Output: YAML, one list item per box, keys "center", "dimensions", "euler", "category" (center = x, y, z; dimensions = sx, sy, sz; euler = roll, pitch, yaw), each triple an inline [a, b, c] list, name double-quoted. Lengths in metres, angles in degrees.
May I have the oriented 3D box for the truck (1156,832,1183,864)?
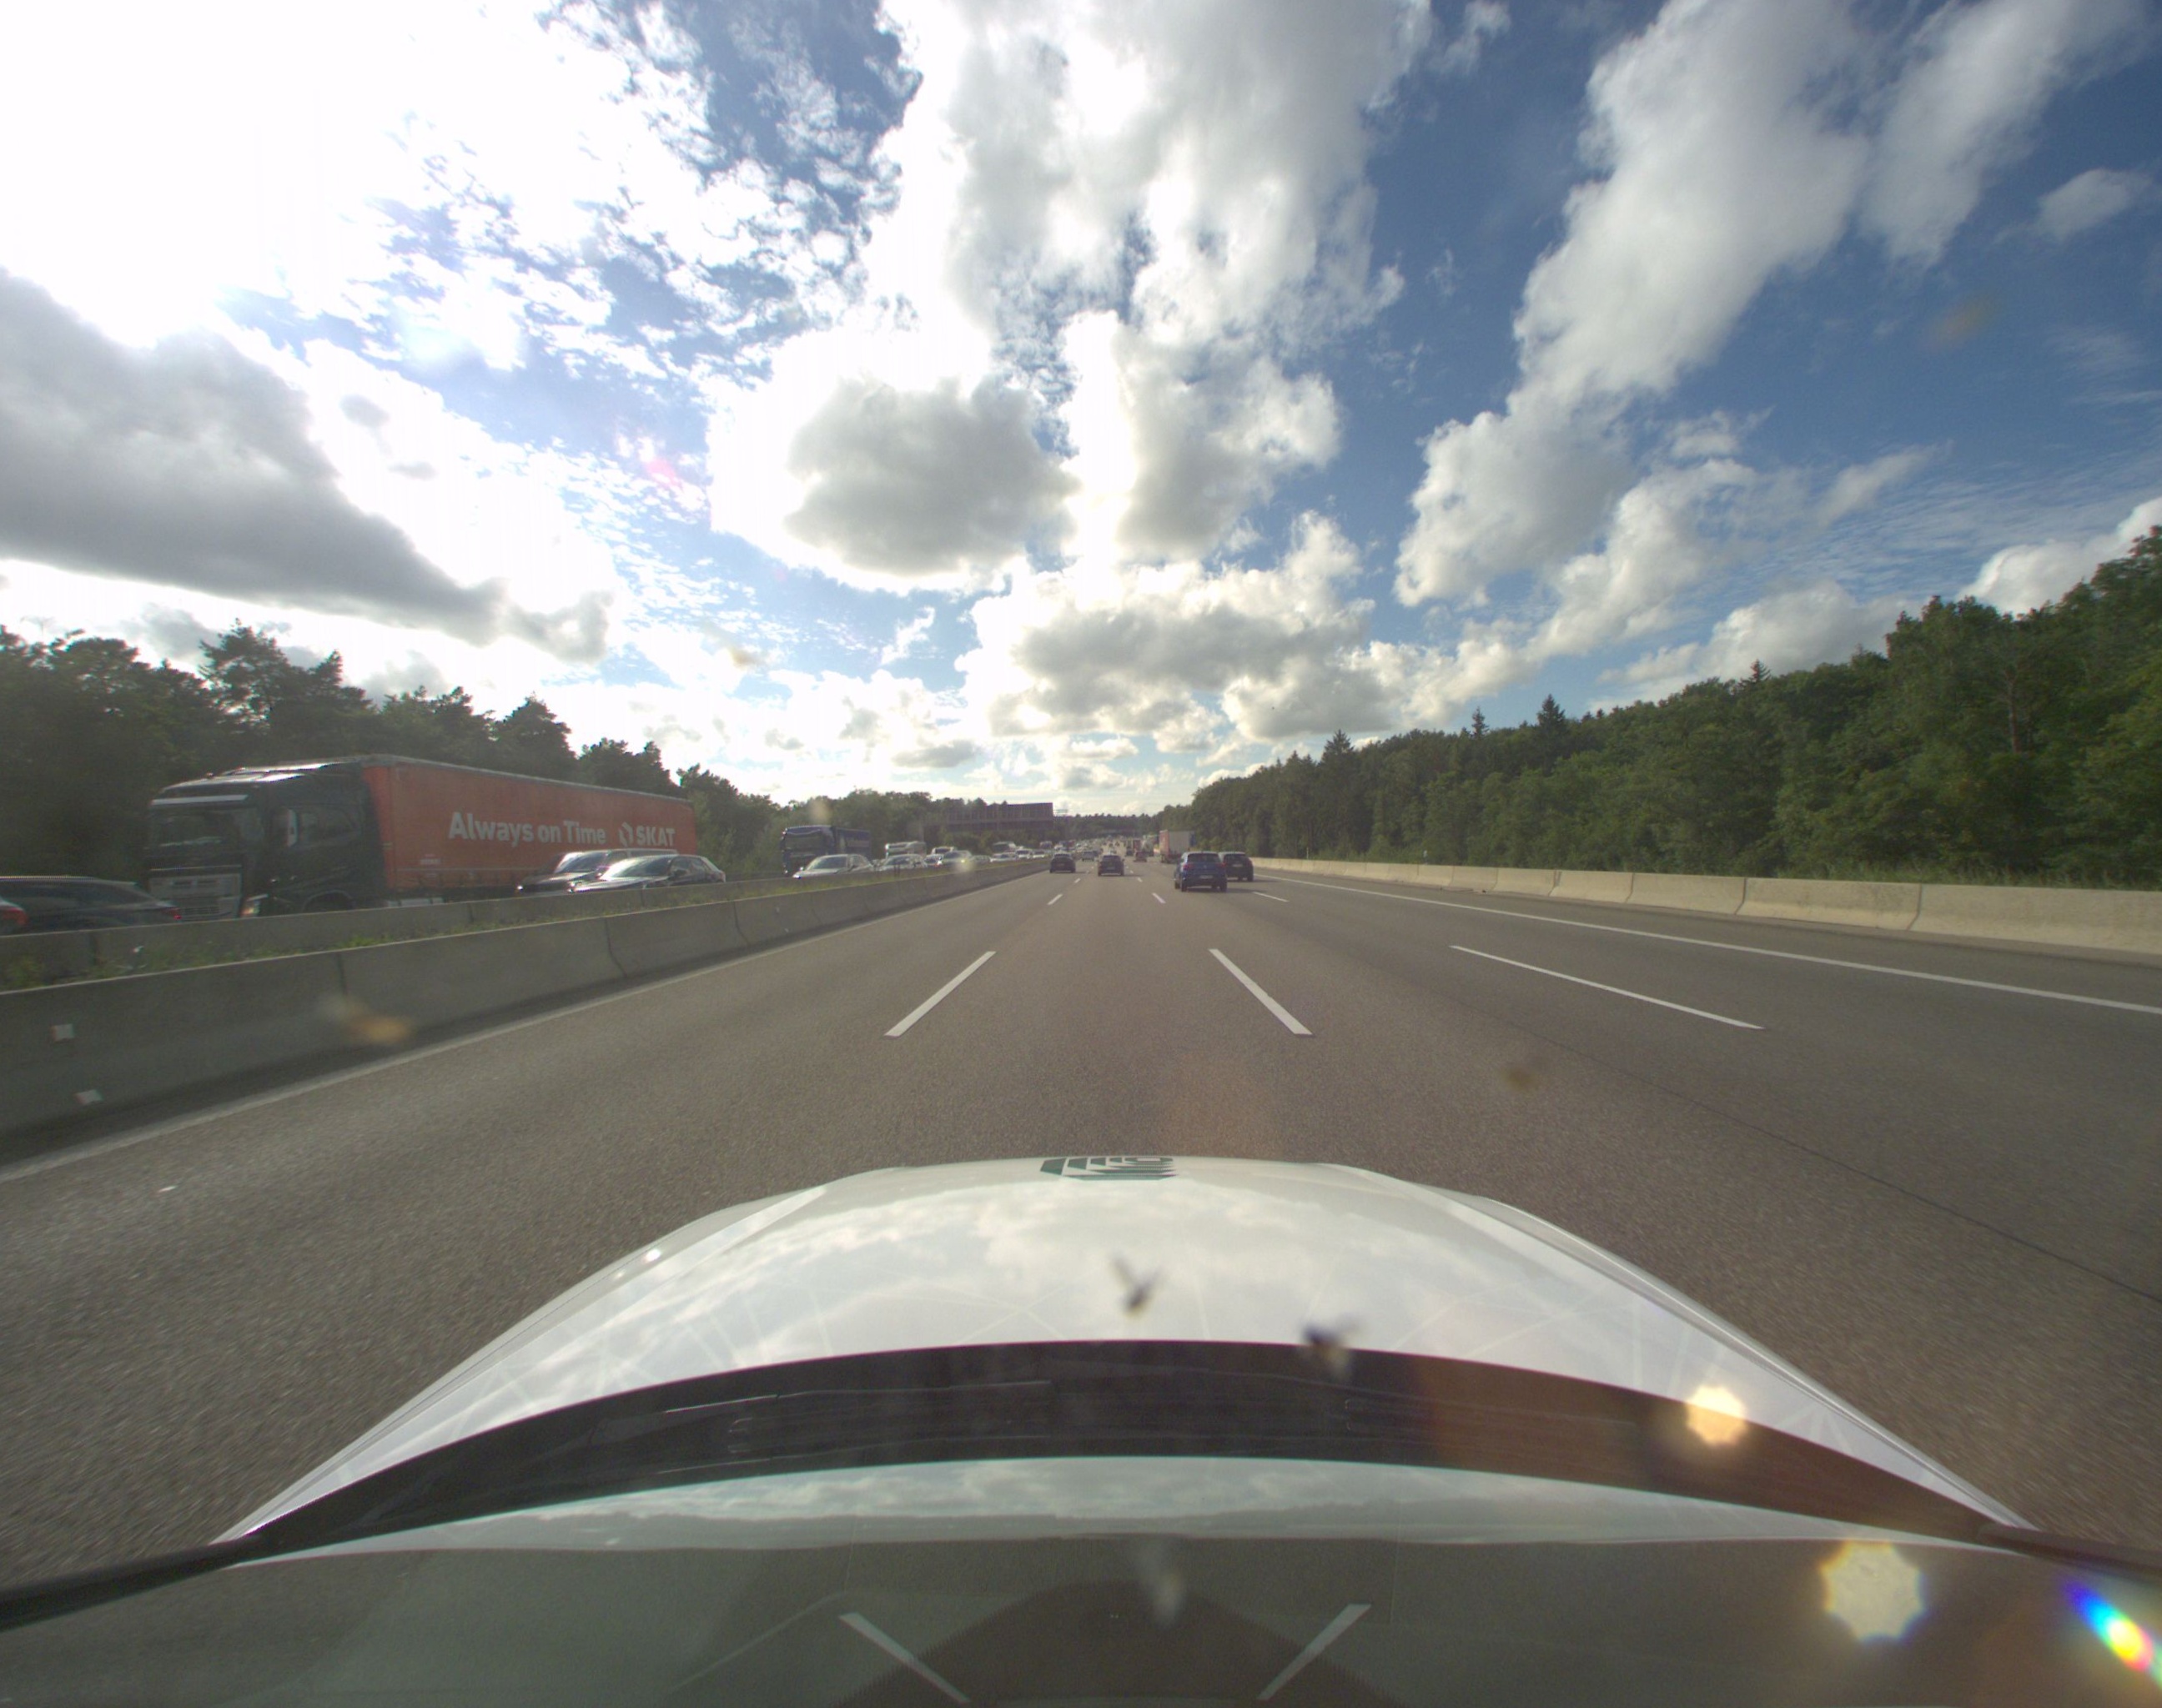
- center: [11.473, -0.716, 105.778]
  dimensions: [3.069, 4.063, 6.072]
  euler: [0, -1, 2]
  category: "truck"

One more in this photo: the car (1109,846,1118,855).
- center: [7.709, -0.765, 194.149]
  dimensions: [1.986, 2.014, 4.001]
  euler: [-2, -1, 2]
  category: "car"

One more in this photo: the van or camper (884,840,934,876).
- center: [-14.620, 0.419, 69.726]
  dimensions: [2.460, 2.889, 7.485]
  euler: [0, -1, 2]
  category: "van or camper"

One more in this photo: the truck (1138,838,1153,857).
- center: [14.617, -1.477, 184.548]
  dimensions: [3.034, 4.160, 7.130]
  euler: [-1, 0, 2]
  category: "truck"

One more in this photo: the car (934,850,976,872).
- center: [-8.127, 0.433, 52.986]
  dimensions: [1.825, 1.387, 4.905]
  euler: [-1, 0, 1]
  category: "car"

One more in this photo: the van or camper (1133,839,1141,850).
- center: [16.684, -2.876, 241.498]
  dimensions: [2.342, 3.144, 5.715]
  euler: [0, -1, 3]
  category: "van or camper"

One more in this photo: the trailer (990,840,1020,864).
- center: [-12.934, -0.413, 139.381]
  dimensions: [3.399, 3.828, 13.267]
  euler: [0, 0, 2]
  category: "trailer"

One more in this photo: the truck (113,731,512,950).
- center: [-16.843, -0.257, 18.709]
  dimensions: [2.604, 4.071, 6.721]
  euler: [-1, 0, 2]
  category: "truck"

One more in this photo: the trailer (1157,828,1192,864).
- center: [11.238, -0.858, 98.887]
  dimensions: [3.027, 4.035, 13.895]
  euler: [0, 0, 2]
  category: "trailer"

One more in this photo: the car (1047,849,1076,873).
- center: [-1.458, 0.518, 63.518]
  dimensions: [1.986, 1.776, 4.002]
  euler: [-1, 0, 2]
  category: "car"

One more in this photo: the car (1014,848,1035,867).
- center: [-6.375, 0.375, 92.486]
  dimensions: [1.825, 2.062, 5.502]
  euler: [-2, 0, 1]
  category: "car"

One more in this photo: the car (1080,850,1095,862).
- center: [1.080, 0.321, 127.998]
  dimensions: [2.146, 1.776, 4.002]
  euler: [0, 0, 2]
  category: "car"

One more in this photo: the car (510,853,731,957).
- center: [-9.547, 0.944, 17.465]
  dimensions: [1.810, 1.881, 4.905]
  euler: [-1, 0, 1]
  category: "car"

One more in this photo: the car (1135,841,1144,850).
- center: [15.100, -2.165, 209.886]
  dimensions: [1.986, 2.014, 4.001]
  euler: [0, -1, 2]
  category: "car"

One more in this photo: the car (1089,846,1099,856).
- center: [2.765, -0.583, 166.834]
  dimensions: [1.986, 2.014, 4.001]
  euler: [0, -1, 2]
  category: "car"

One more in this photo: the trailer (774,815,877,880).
- center: [-15.718, -0.367, 51.102]
  dimensions: [2.877, 3.658, 10.224]
  euler: [-1, 0, 2]
  category: "trailer"

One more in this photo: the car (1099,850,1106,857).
- center: [6.031, -0.107, 227.527]
  dimensions: [1.986, 2.014, 4.001]
  euler: [0, -1, 2]
  category: "car"

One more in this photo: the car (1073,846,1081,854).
- center: [-1.095, -1.016, 225.273]
  dimensions: [1.986, 2.014, 4.412]
  euler: [-1, -1, 2]
  category: "car"

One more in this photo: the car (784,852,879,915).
- center: [-8.686, 0.981, 28.740]
  dimensions: [1.736, 2.014, 4.685]
  euler: [0, -1, 2]
  category: "car"

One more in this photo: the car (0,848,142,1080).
- center: [-9.790, 0.908, 5.158]
  dimensions: [1.809, 1.881, 4.908]
  euler: [-1, 0, 3]
  category: "car"

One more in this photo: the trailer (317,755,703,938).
- center: [-16.615, -0.131, 25.929]
  dimensions: [2.629, 4.320, 13.182]
  euler: [0, -1, 2]
  category: "trailer"

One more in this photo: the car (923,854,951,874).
- center: [-14.138, 0.950, 80.399]
  dimensions: [1.825, 1.915, 4.483]
  euler: [-1, 0, 1]
  category: "car"

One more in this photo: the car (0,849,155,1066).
- center: [-9.717, 0.849, 5.196]
  dimensions: [1.809, 1.745, 4.908]
  euler: [-1, 0, 3]
  category: "car"

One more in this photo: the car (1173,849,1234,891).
- center: [4.821, 0.615, 32.650]
  dimensions: [1.916, 1.541, 4.648]
  euler: [-1, -1, 2]
  category: "car"

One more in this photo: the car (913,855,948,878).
- center: [-11.804, 0.958, 64.125]
  dimensions: [1.825, 1.660, 4.273]
  euler: [-1, 0, 1]
  category: "car"

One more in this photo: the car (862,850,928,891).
- center: [-8.506, 0.705, 37.618]
  dimensions: [1.810, 1.764, 4.632]
  euler: [-1, 0, 1]
  category: "car"

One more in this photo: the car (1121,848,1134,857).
- center: [10.092, -0.313, 176.709]
  dimensions: [1.992, 2.013, 3.989]
  euler: [0, 0, -8]
  category: "car"

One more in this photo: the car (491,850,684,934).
- center: [-12.905, 0.920, 21.776]
  dimensions: [1.986, 1.960, 4.992]
  euler: [0, -1, 2]
  category: "car"

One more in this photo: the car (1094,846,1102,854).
- center: [4.389, -1.151, 211.445]
  dimensions: [1.986, 2.014, 4.001]
  euler: [0, -1, 2]
  category: "car"

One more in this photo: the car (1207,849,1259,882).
- center: [7.883, 0.582, 42.684]
  dimensions: [1.985, 1.574, 5.281]
  euler: [0, -1, 2]
  category: "car"

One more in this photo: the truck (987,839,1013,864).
- center: [-13.155, -0.375, 133.122]
  dimensions: [3.405, 3.900, 6.803]
  euler: [-1, 0, 1]
  category: "truck"

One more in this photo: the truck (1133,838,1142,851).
- center: [16.280, -2.605, 234.029]
  dimensions: [2.348, 3.572, 11.275]
  euler: [0, -1, 3]
  category: "truck"

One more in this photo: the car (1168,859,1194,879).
- center: [8.269, 1.192, 67.845]
  dimensions: [1.708, 1.511, 4.304]
  euler: [-2, 0, 2]
  category: "car"

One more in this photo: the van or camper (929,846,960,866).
- center: [-14.333, 0.215, 85.678]
  dimensions: [2.274, 2.011, 4.691]
  euler: [0, 0, 2]
  category: "van or camper"

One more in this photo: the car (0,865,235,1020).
- center: [-13.540, 1.072, 9.638]
  dimensions: [1.810, 1.764, 4.905]
  euler: [-1, 0, 1]
  category: "car"

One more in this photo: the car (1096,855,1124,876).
- center: [1.893, 0.730, 54.593]
  dimensions: [1.728, 1.365, 3.999]
  euler: [0, 0, 0]
  category: "car"

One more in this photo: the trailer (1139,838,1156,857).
- center: [14.436, -1.355, 177.789]
  dimensions: [3.025, 4.015, 12.249]
  euler: [-1, 0, 1]
  category: "trailer"

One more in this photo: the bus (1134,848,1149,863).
- center: [8.382, 0.227, 112.591]
  dimensions: [1.986, 2.014, 4.002]
  euler: [0, -1, 2]
  category: "bus"

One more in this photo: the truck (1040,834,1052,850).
- center: [-9.389, -3.185, 217.772]
  dimensions: [2.842, 4.234, 5.716]
  euler: [0, 0, 2]
  category: "truck"

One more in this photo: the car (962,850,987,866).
- center: [-10.589, 0.404, 81.432]
  dimensions: [1.825, 1.537, 4.244]
  euler: [0, 0, 1]
  category: "car"
